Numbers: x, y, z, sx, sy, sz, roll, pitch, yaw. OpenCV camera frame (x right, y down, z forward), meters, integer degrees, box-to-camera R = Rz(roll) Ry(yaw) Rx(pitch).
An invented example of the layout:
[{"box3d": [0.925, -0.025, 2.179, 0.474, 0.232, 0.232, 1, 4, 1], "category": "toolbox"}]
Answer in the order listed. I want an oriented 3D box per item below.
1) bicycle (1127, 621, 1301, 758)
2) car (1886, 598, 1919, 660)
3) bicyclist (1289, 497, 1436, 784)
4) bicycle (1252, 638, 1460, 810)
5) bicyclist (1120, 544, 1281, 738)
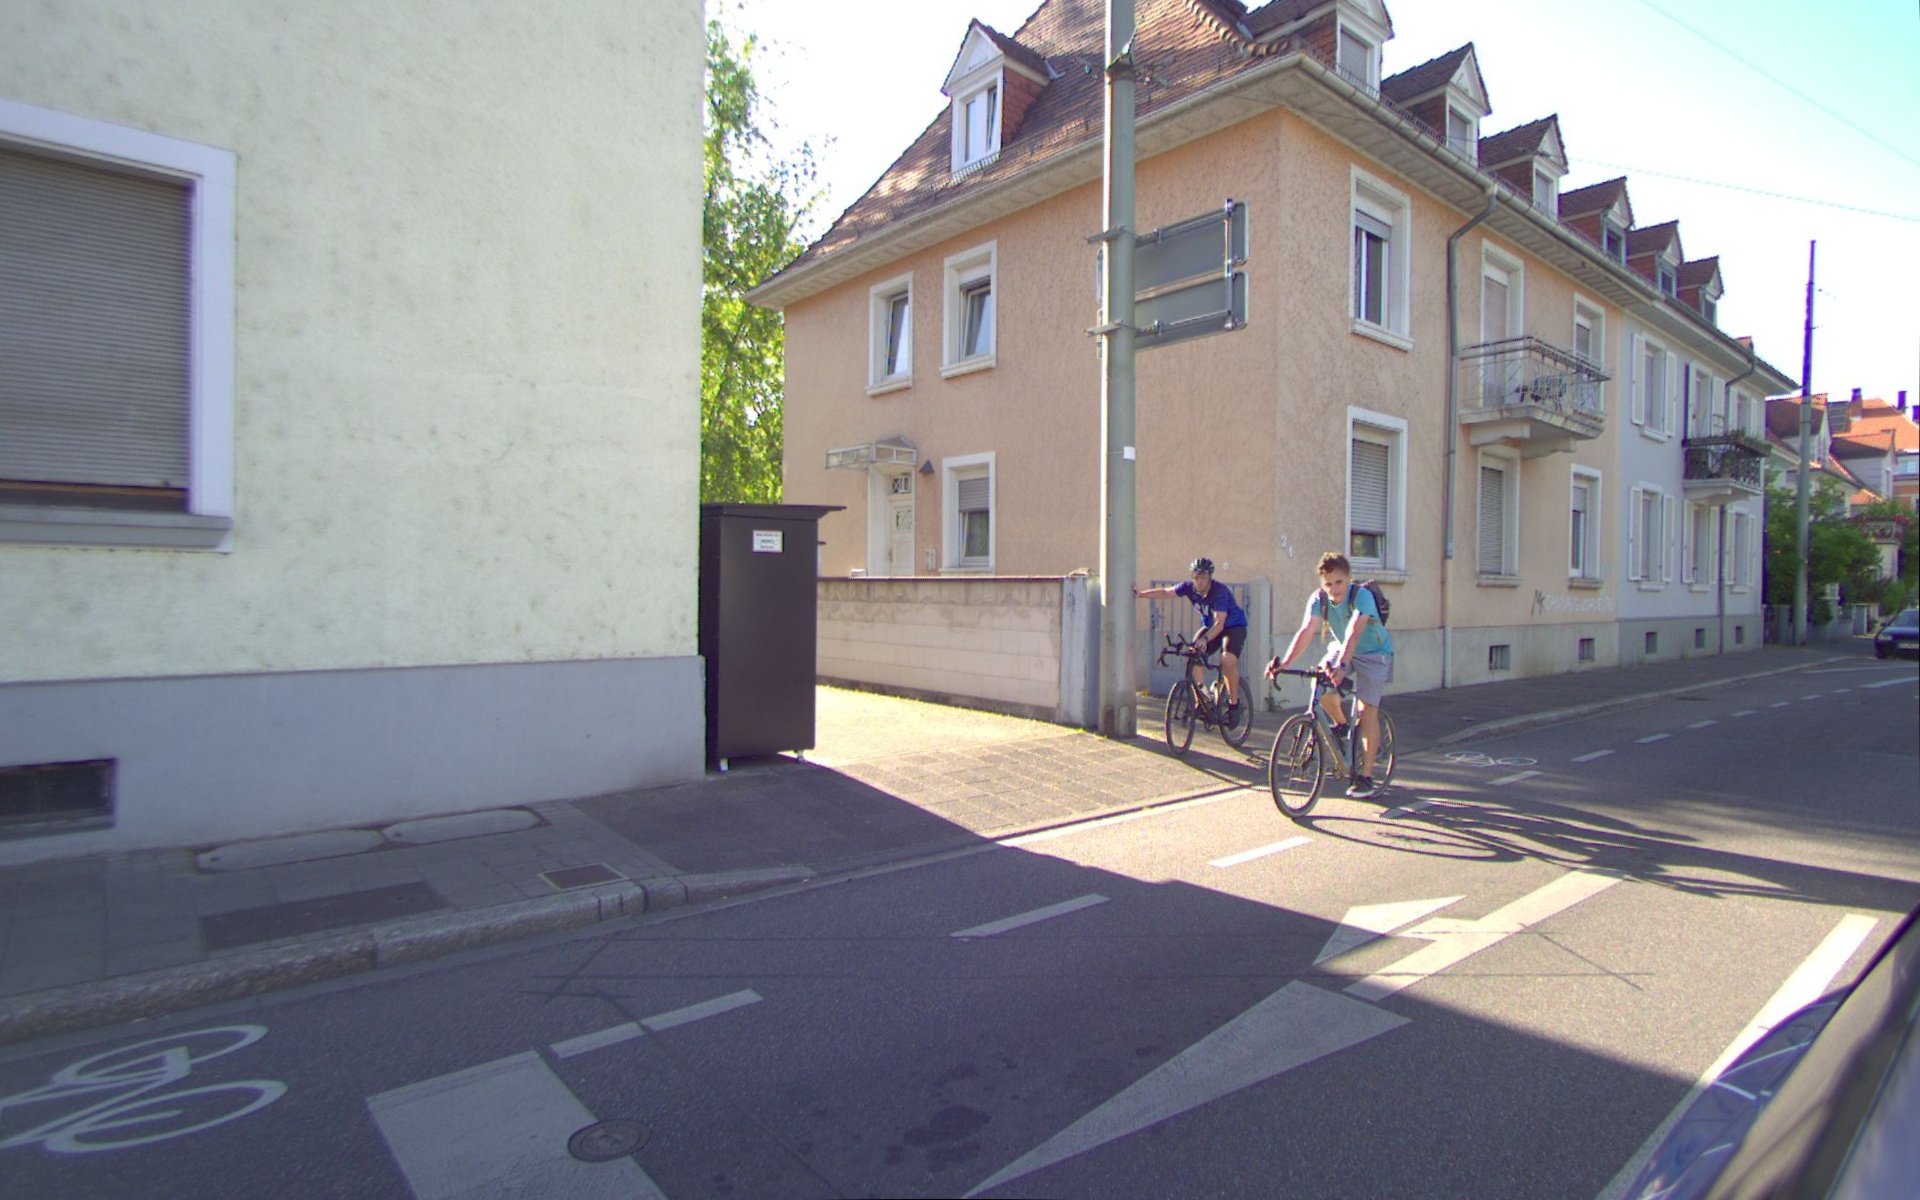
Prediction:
[{"box3d": [2.374, 0.778, 9.369, 1.744, 1.081, 0.592, 0, 5, -41], "category": "bicycle"}, {"box3d": [26.689, 0.751, 27.372, 3.742, 1.601, 1.696, 0, -1, -36], "category": "car"}, {"box3d": [2.944, 0.293, 7.383, 0.927, 1.959, 0.519, 4, -2, -36], "category": "bicyclist"}, {"box3d": [2.913, 0.854, 7.366, 1.761, 1.105, 0.519, 3, -1, -36], "category": "bicycle"}, {"box3d": [2.248, 0.341, 9.510, 0.870, 1.627, 1.052, 1, 5, -41], "category": "bicyclist"}]
